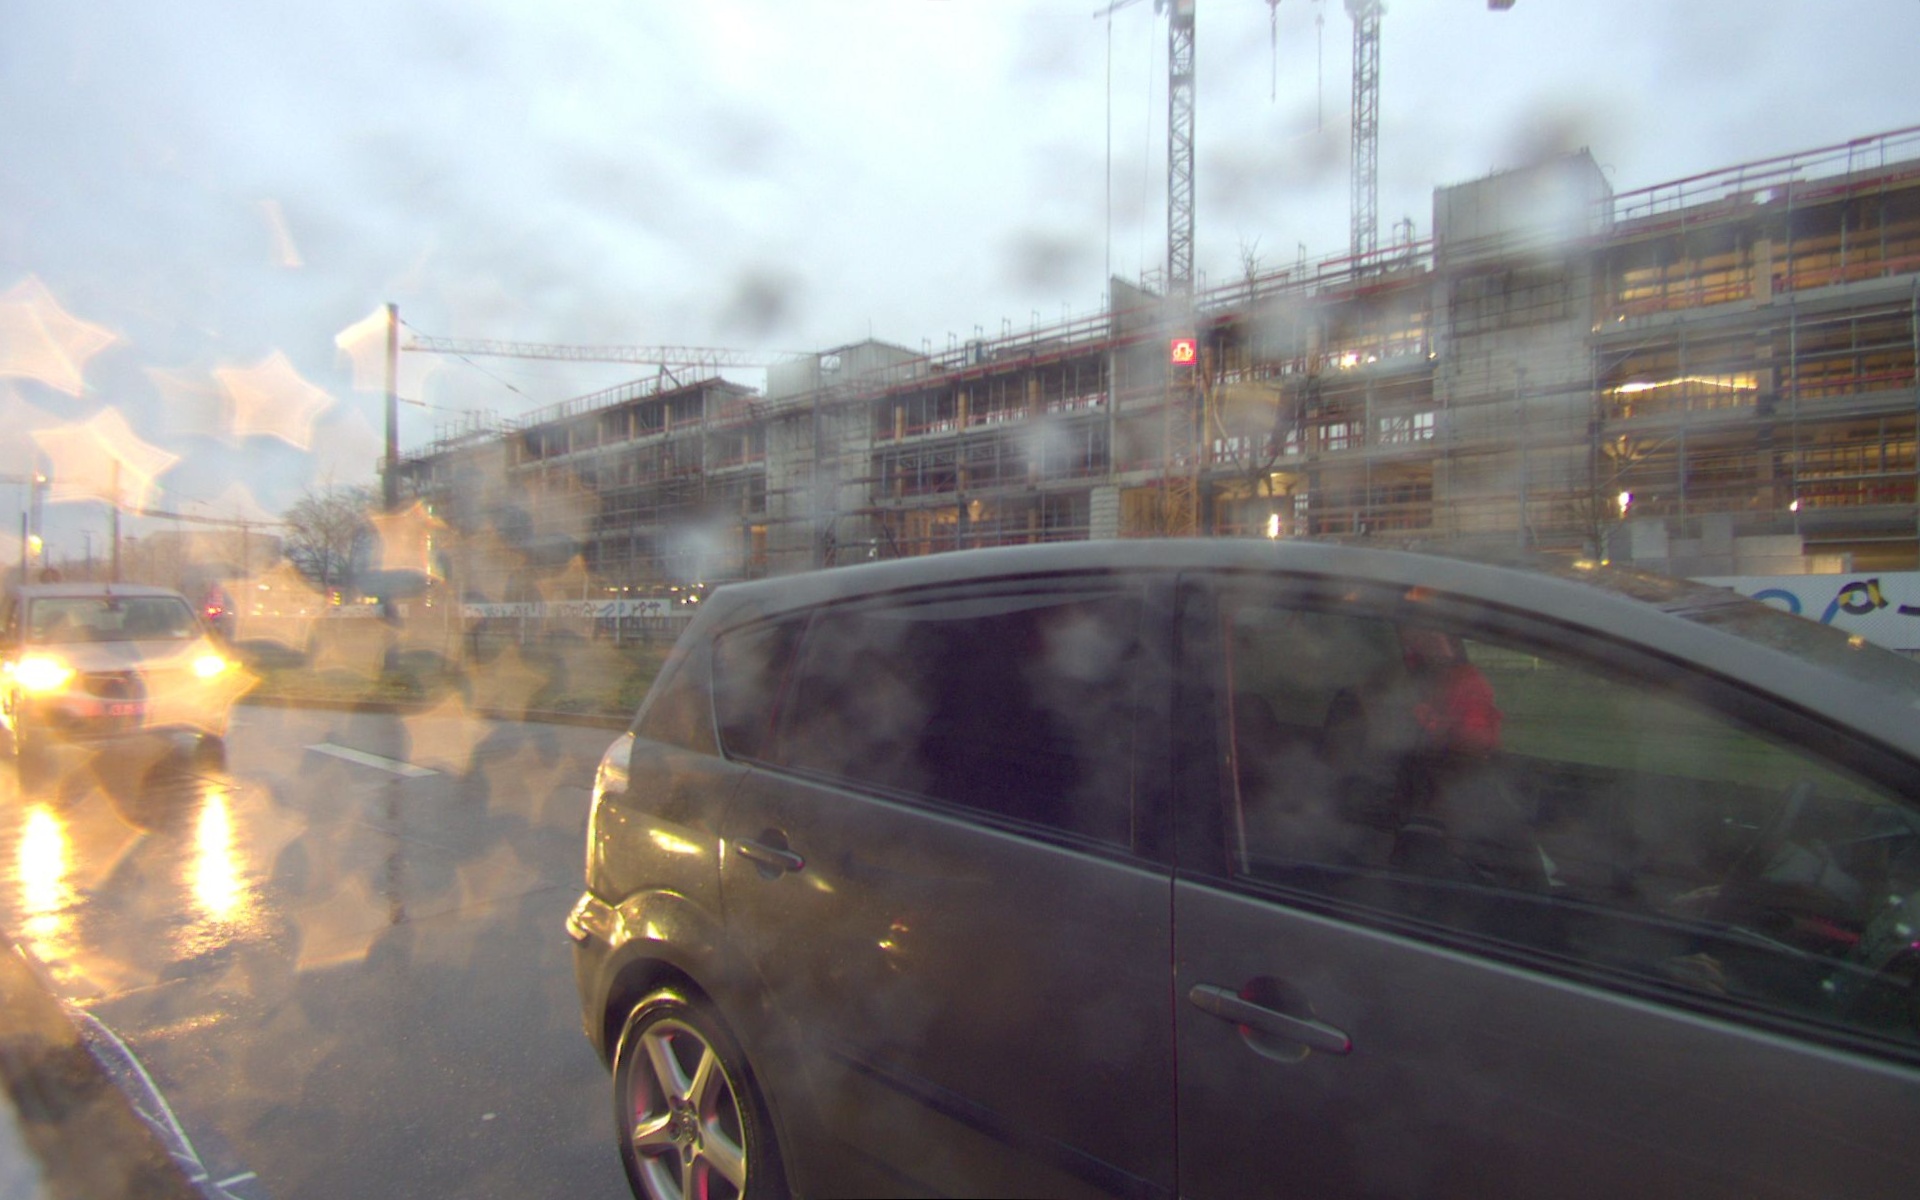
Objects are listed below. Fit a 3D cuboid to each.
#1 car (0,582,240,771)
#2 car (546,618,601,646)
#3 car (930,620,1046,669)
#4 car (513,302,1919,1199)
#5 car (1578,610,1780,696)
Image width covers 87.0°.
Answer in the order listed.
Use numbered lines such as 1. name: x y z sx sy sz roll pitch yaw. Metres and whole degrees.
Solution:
1. car: -9.737 0.721 11.424 4.000 1.746 1.833 -1 0 43
2. car: -26.831 2.202 70.256 3.999 1.785 1.972 -1 0 42
3. car: 1.036 1.648 38.448 4.081 1.700 1.933 -1 0 41
4. car: 1.026 0.544 1.835 3.996 1.606 1.742 -1 0 39
5. car: 19.457 1.348 27.522 1.928 2.139 4.091 -1 0 -39
